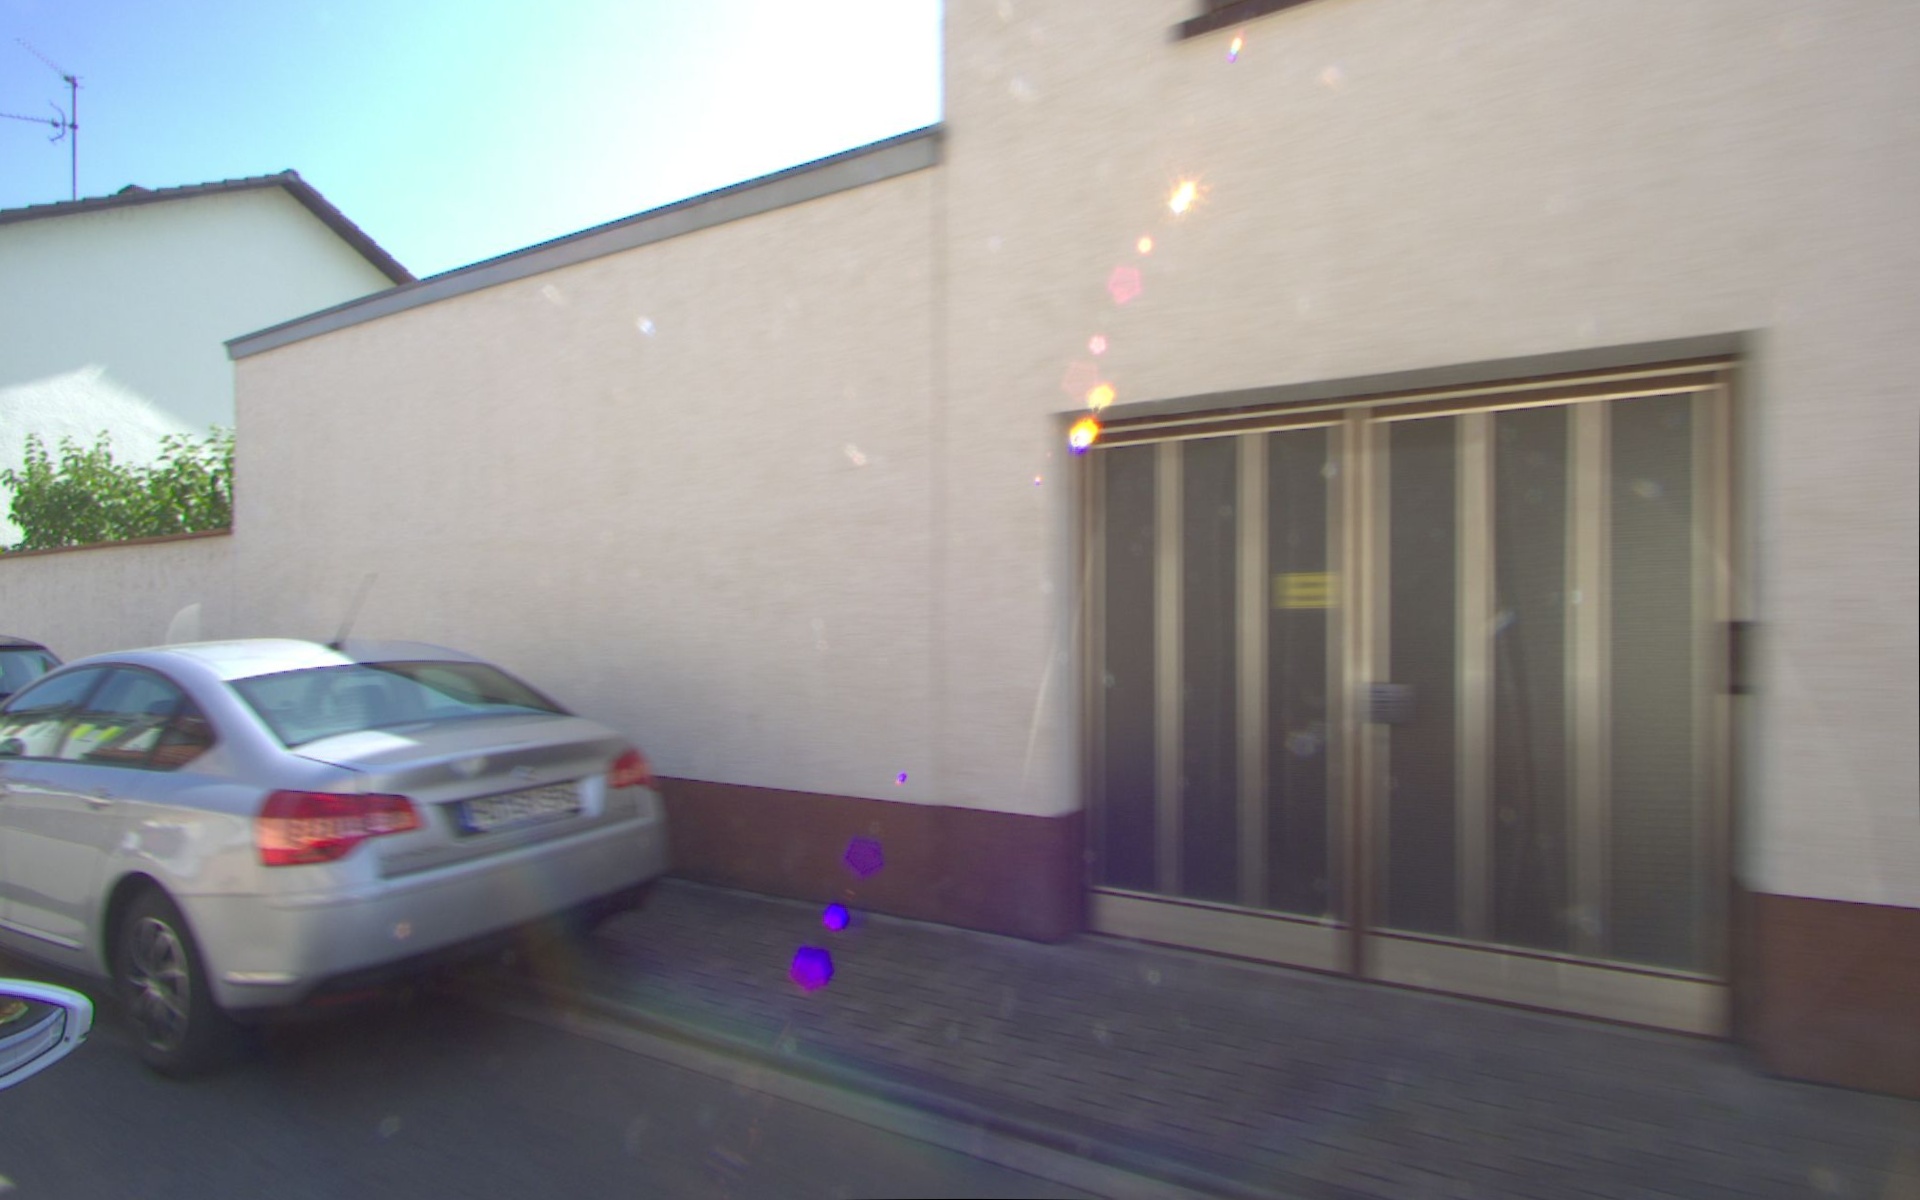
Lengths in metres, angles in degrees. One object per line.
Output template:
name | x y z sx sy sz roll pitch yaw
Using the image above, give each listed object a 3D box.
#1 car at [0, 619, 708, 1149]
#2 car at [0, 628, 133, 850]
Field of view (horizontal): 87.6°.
car | -3.665 0.883 4.936 4.861 1.501 1.787 -1 0 31
car | -8.125 0.949 7.509 4.072 1.455 1.647 -1 -1 30
